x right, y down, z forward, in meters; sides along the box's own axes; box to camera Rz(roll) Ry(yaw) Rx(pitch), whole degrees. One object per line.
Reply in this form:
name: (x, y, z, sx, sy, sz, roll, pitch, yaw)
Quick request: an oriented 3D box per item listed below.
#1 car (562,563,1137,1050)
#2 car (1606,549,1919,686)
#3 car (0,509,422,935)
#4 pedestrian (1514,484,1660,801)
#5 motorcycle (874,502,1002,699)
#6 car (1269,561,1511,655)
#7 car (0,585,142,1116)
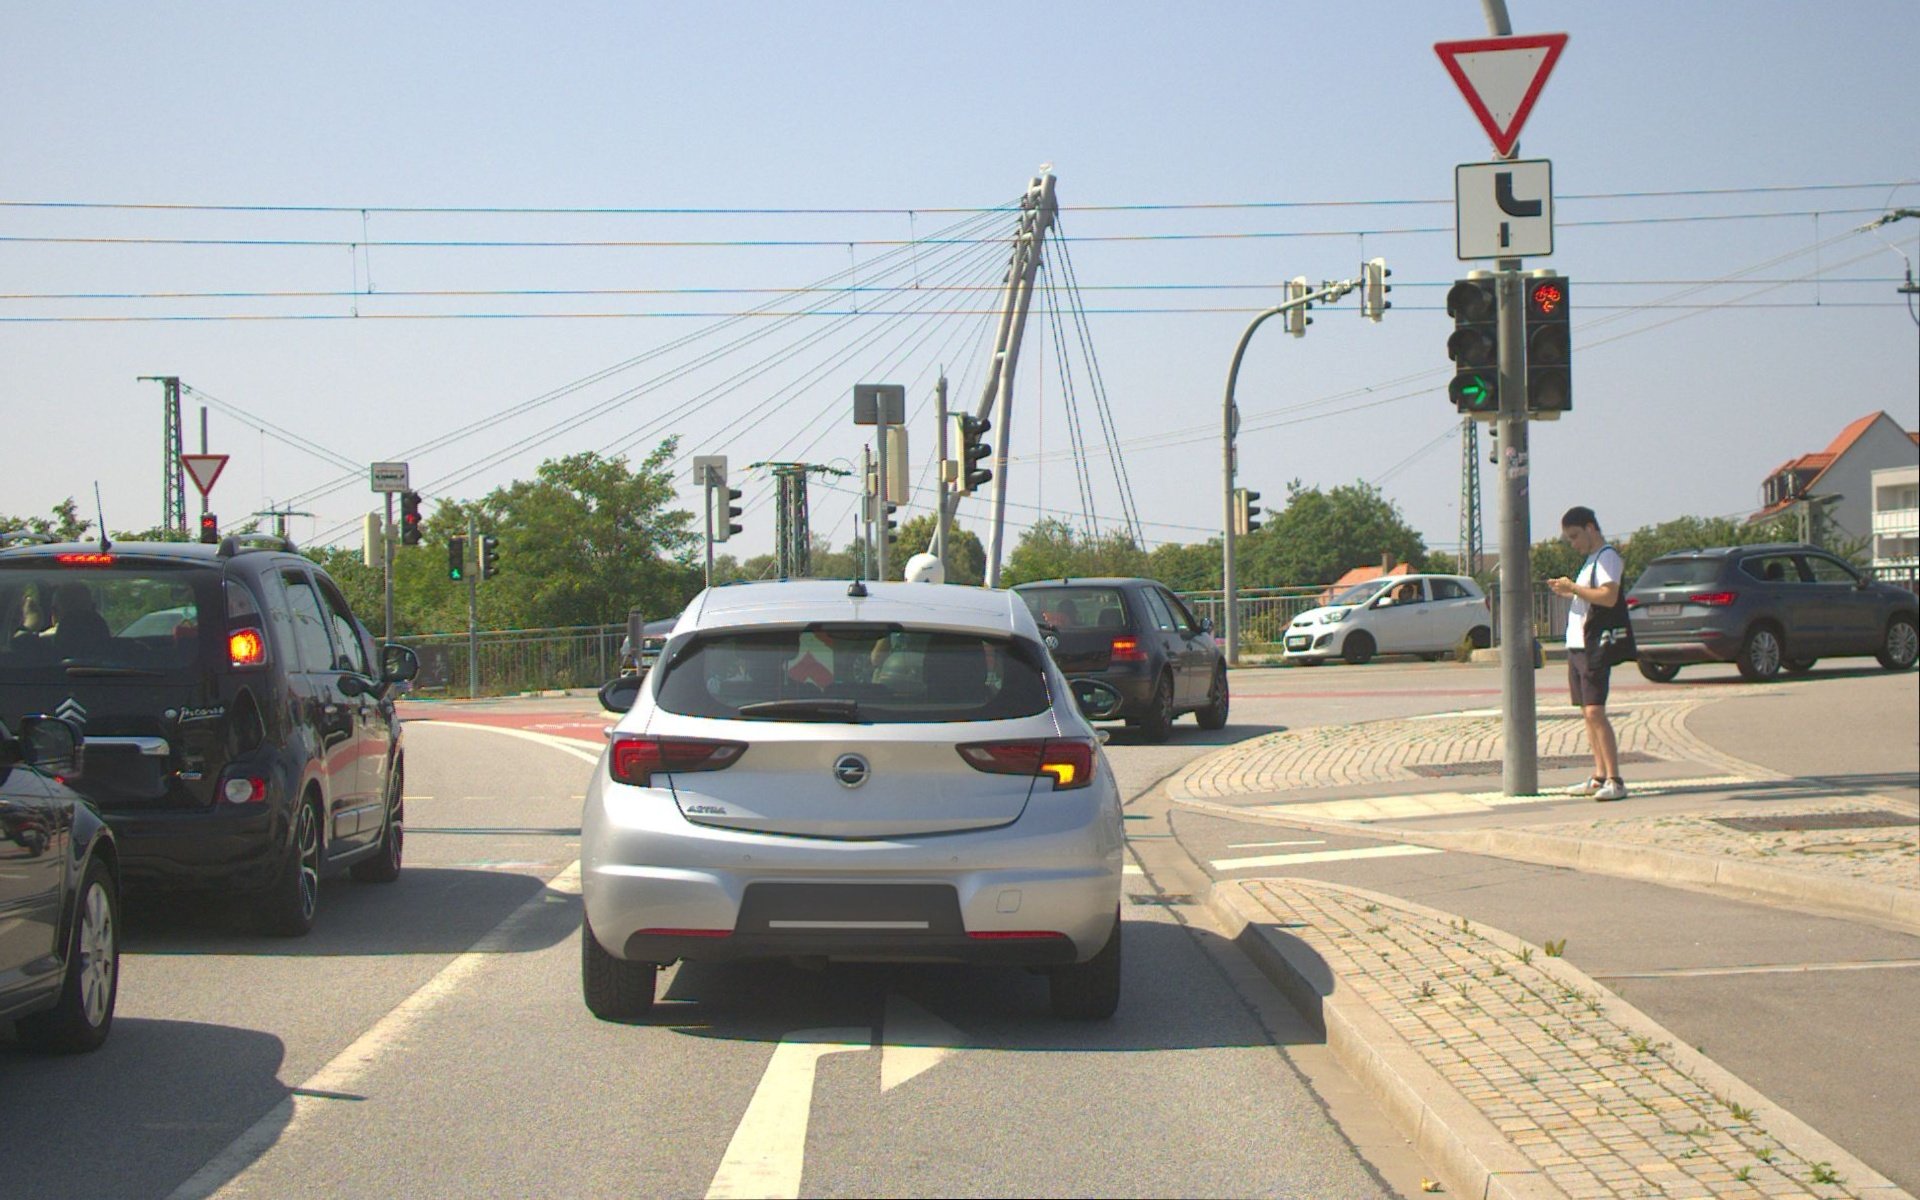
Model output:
car: (-0.417, 0.632, 12.579, 1.743, 1.473, 4.000, 1, 0, -2)
car: (9.876, 0.197, 41.835, 3.988, 1.558, 1.729, 0, 1, -38)
car: (-3.433, 0.459, 15.057, 1.649, 1.610, 3.820, 1, 0, -2)
pedestrian: (3.725, 0.246, 20.465, 0.647, 1.830, 0.798, -2, 0, -2)
motorcycle: (-0.151, 0.032, 20.517, 0.501, 1.010, 2.173, -9, -2, -4)
car: (7.139, 0.134, 57.099, 3.623, 1.481, 1.691, 1, 0, -26)
car: (-3.364, 0.665, 8.955, 1.575, 1.429, 3.786, 1, 0, -1)
